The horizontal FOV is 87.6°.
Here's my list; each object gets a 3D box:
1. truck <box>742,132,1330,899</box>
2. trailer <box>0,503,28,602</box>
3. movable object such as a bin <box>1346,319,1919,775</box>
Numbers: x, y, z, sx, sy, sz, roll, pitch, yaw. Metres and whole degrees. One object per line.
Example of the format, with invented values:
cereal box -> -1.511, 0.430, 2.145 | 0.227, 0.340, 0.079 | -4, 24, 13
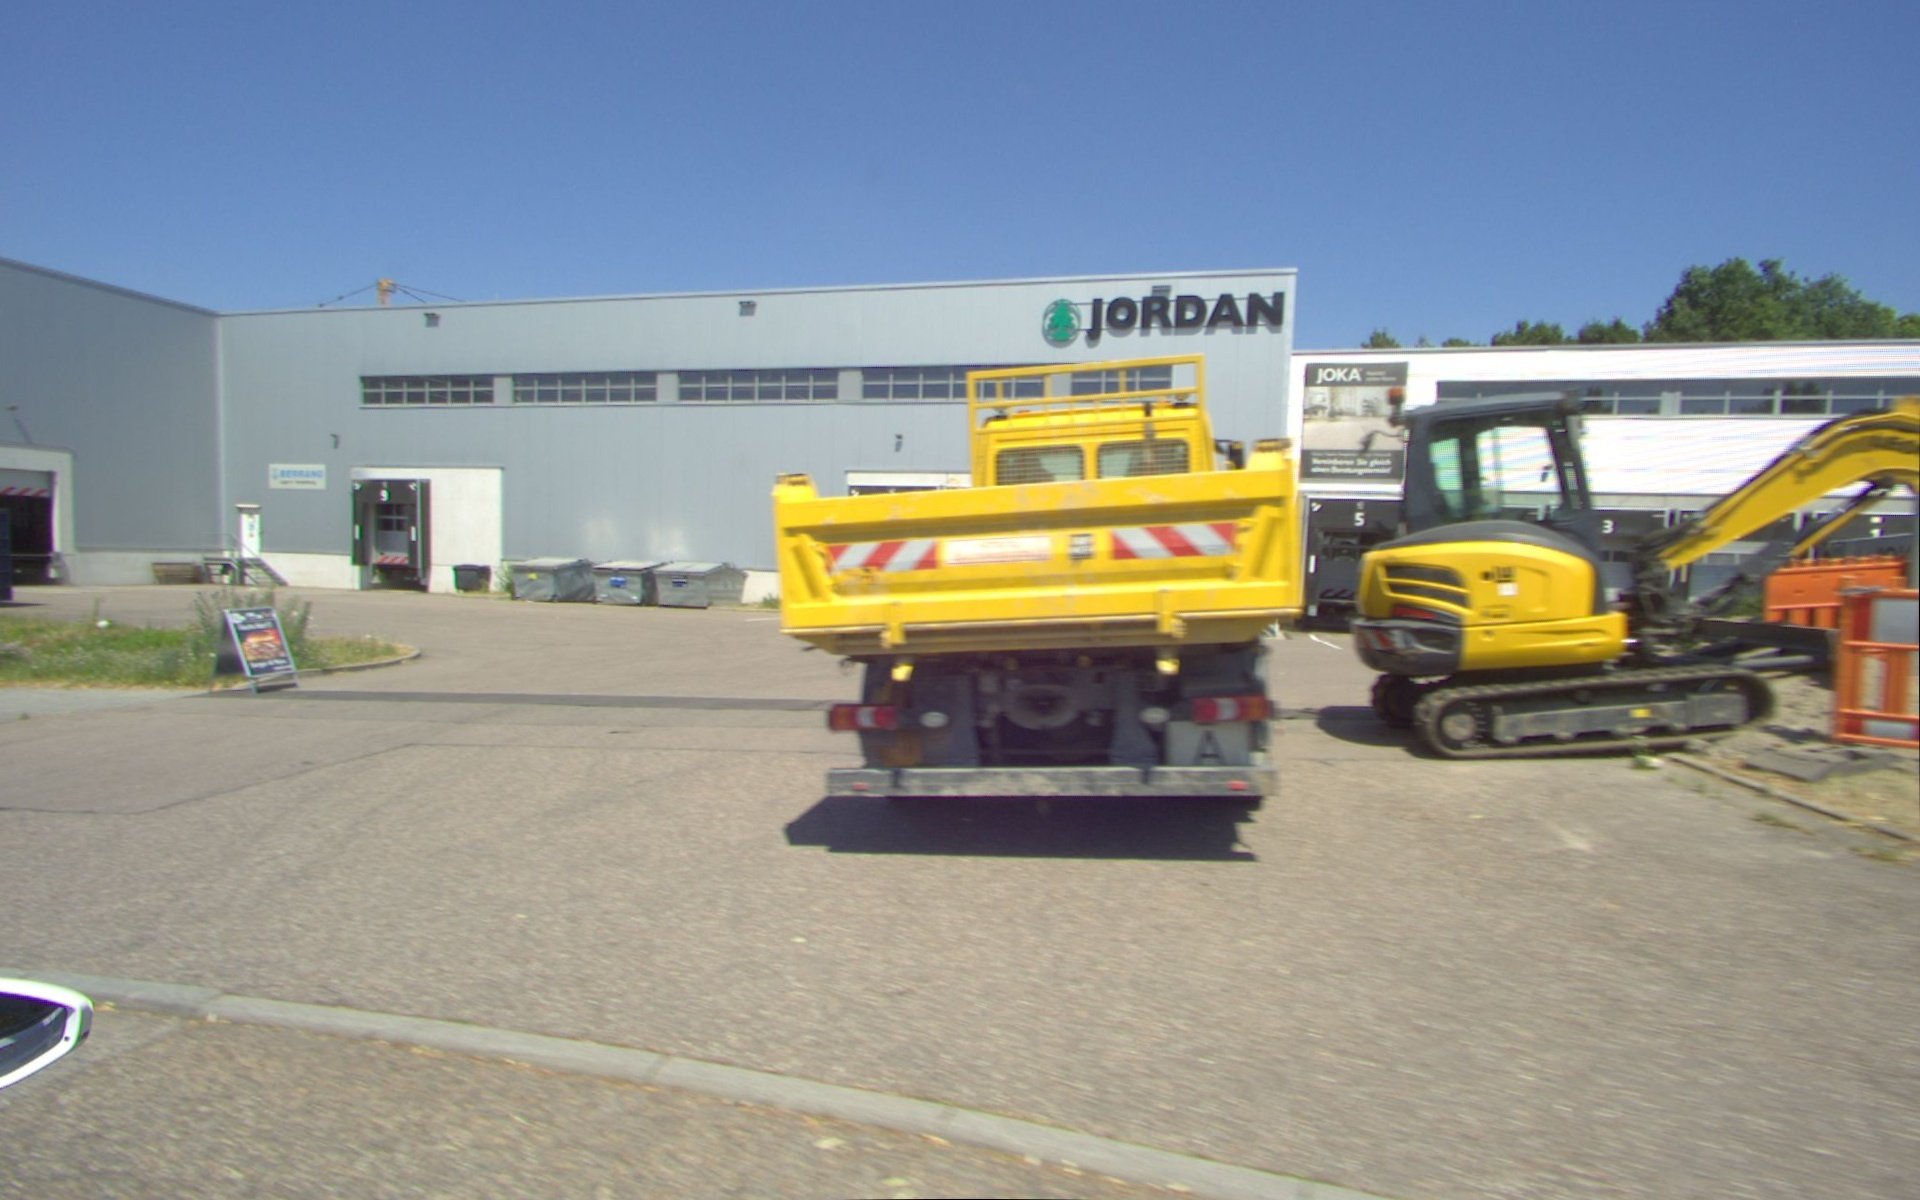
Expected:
truck -> 0.896, -0.482, 7.566 | 2.546, 3.181, 6.414 | 0, 3, 11
trailer -> -27.668, -1.461, 25.385 | 7.278, 2.454, 2.662 | 5, 3, 17
movable object such as a bin -> 6.058, -0.327, 6.612 | 6.462, 2.617, 1.994 | 0, 3, 20
